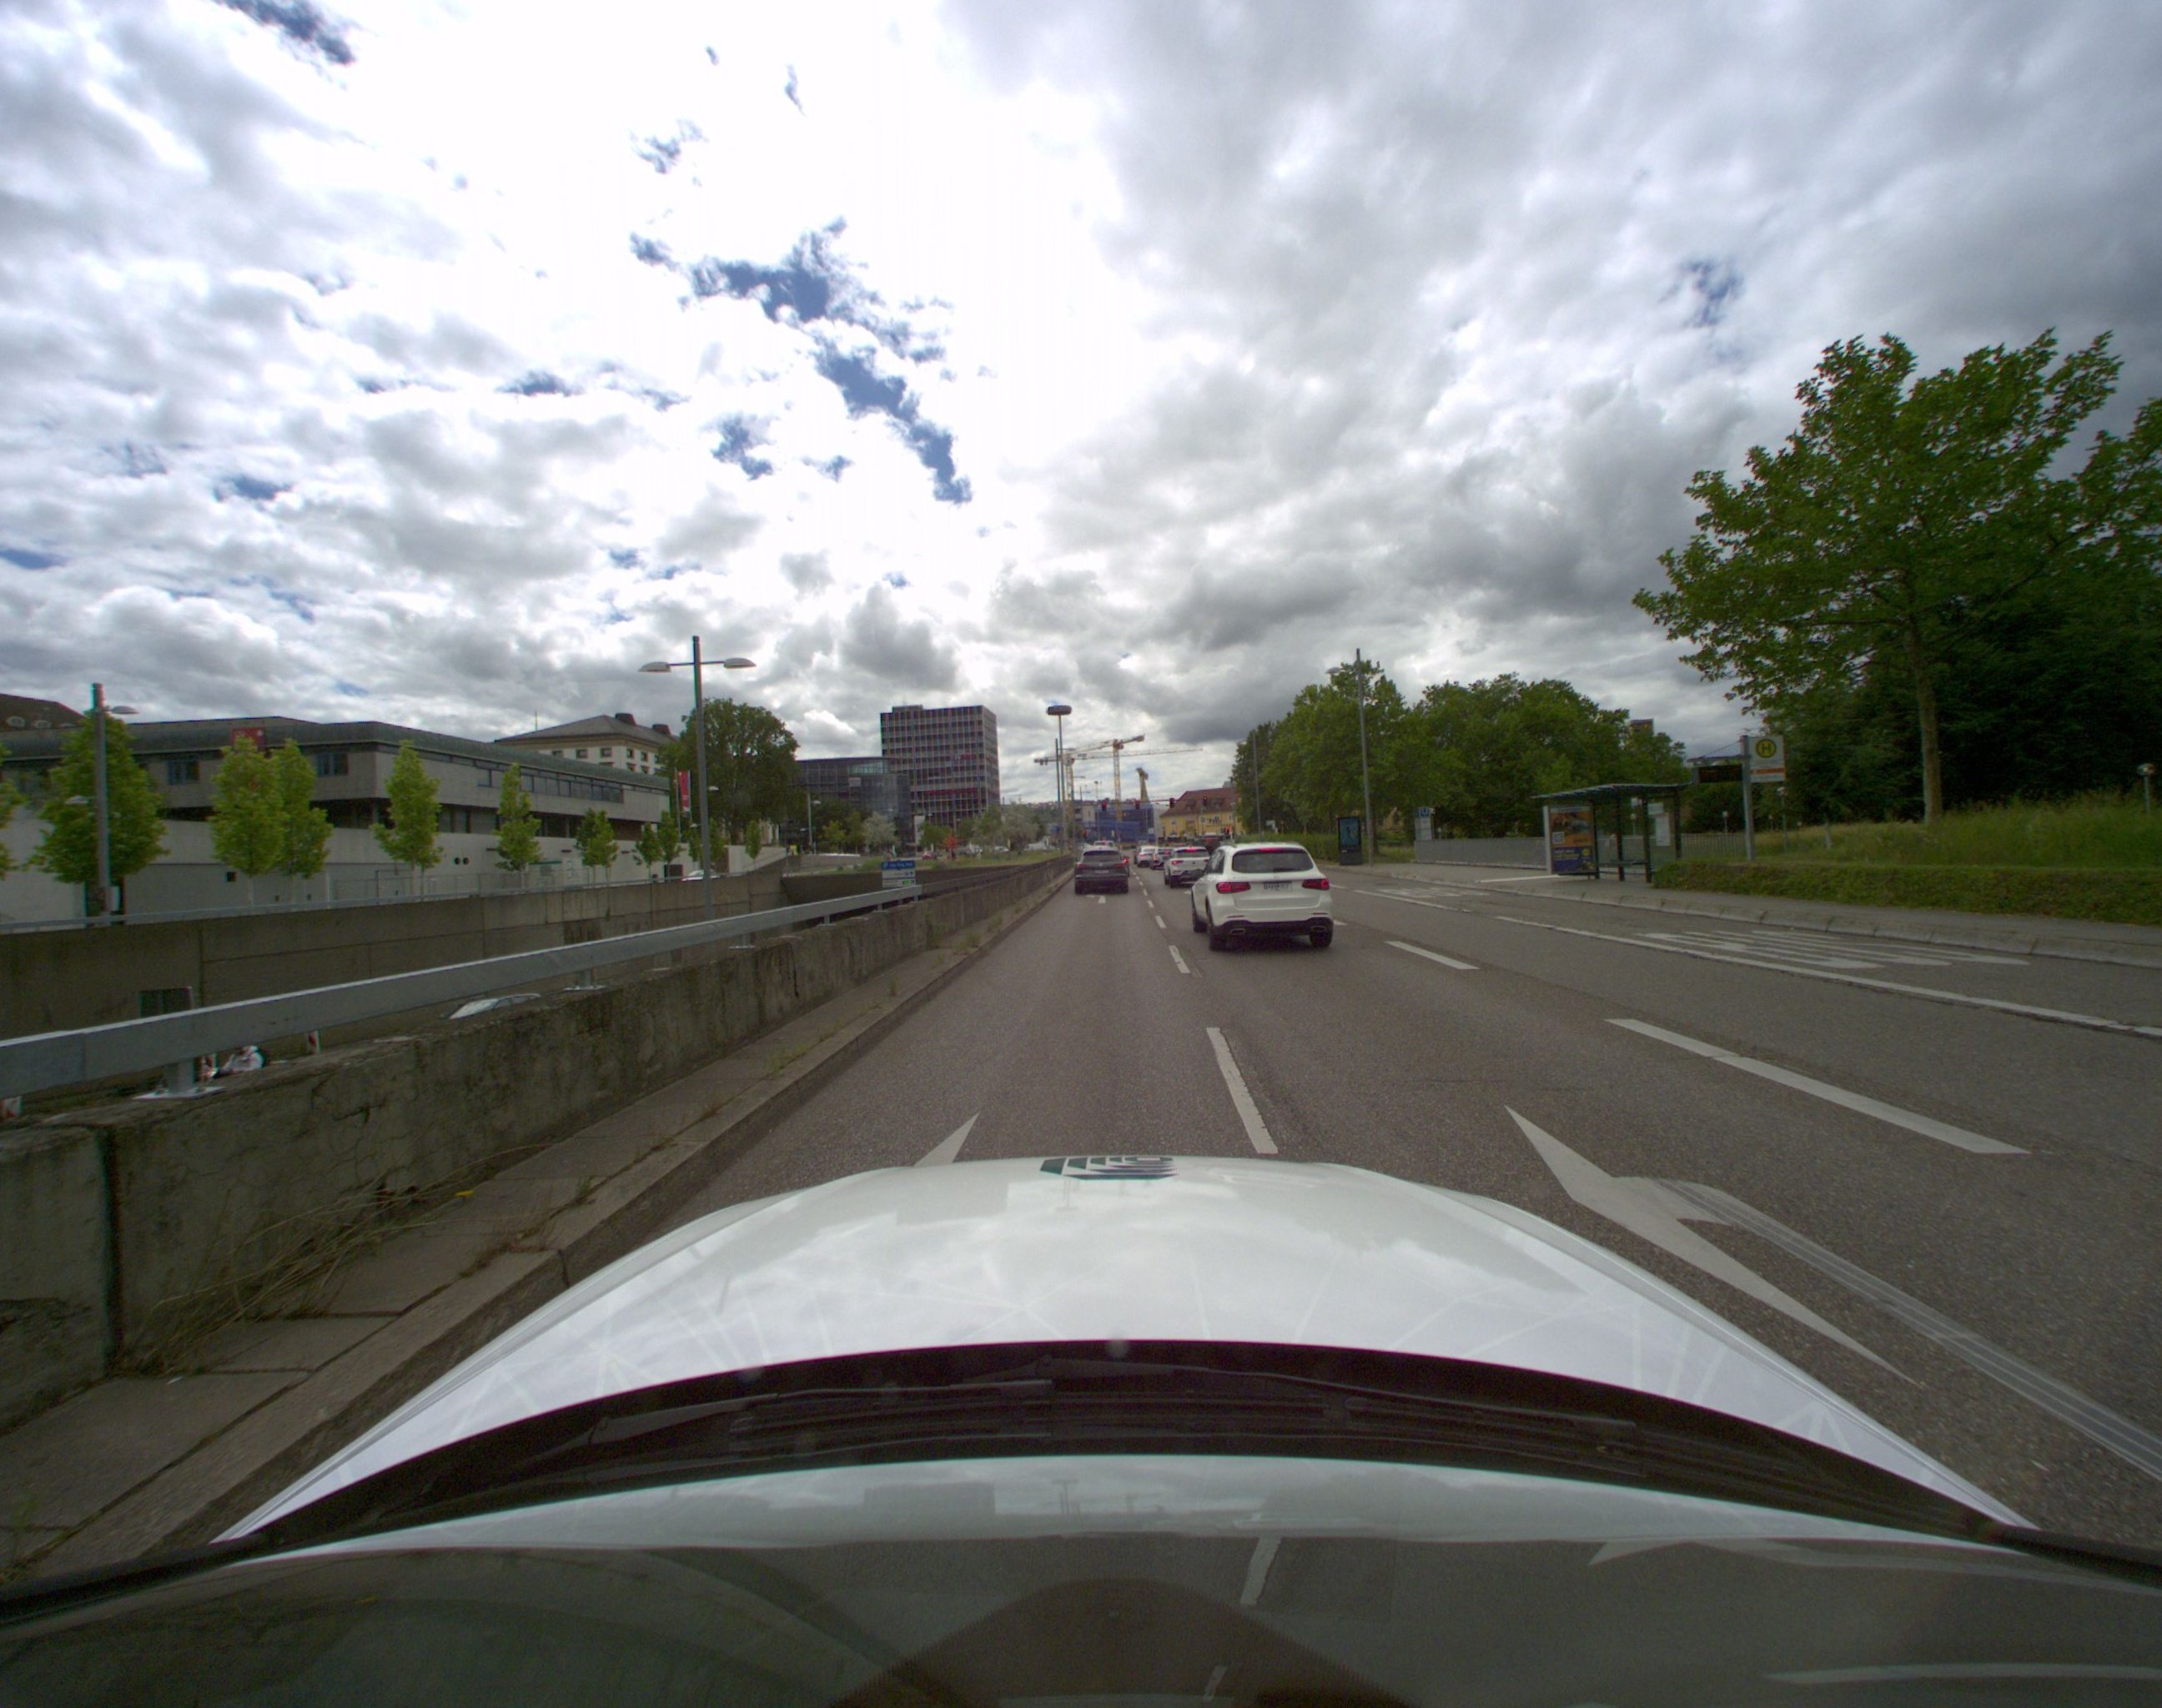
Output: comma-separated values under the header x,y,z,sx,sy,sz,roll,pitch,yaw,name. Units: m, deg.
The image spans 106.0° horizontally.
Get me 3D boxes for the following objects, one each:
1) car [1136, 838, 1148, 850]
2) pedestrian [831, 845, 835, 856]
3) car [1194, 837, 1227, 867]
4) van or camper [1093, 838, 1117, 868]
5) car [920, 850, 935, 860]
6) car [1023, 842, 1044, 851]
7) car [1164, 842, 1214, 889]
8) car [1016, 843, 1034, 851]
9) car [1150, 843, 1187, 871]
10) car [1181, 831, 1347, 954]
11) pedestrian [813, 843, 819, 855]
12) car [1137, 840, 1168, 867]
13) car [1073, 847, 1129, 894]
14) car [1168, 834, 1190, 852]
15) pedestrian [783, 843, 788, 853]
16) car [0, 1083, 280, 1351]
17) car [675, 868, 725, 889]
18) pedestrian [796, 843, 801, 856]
x,y,z,sx,sy,sz,roll,pitch,yaw,name
10.662,-1.778,142.459,1.793,2.014,4.001,0,-1,2,car
-40.095,-0.556,131.797,0.640,1.729,0.692,0,-1,-13,pedestrian
9.189,-0.158,57.914,1.781,2.013,4.002,-2,0,2,car
2.071,-0.052,69.611,1.915,2.320,4.001,-2,-2,2,van or camper
-26.433,0.139,140.038,1.860,1.618,3.482,0,-1,2,car
-12.173,-1.891,208.525,5.250,2.060,1.875,0,-1,2,car
4.223,0.392,32.438,1.665,1.627,4.005,0,3,3,car
-13.113,-1.665,191.493,3.994,2.014,1.990,0,-1,-15,car
5.370,0.198,50.237,1.986,1.662,4.001,0,-1,2,car
2.862,0.572,13.641,1.933,1.684,4.001,-2,-1,2,car
-39.251,-0.711,120.592,0.686,1.729,0.645,-1,-1,26,pedestrian
4.963,0.007,56.941,1.986,1.781,4.001,0,-1,2,car
0.773,0.566,30.689,1.915,1.602,4.002,-2,0,2,car
9.270,-1.032,77.205,1.713,1.584,4.000,0,0,1,car
-52.859,-1.125,145.665,0.636,1.729,0.695,0,-1,2,pedestrian
-10.050,3.379,6.754,1.986,1.617,4.740,-2,-1,2,car
-27.491,1.774,58.877,1.803,1.427,3.708,0,-1,1,car
-37.977,-0.661,109.480,0.641,1.729,0.690,0,-1,-21,pedestrian
